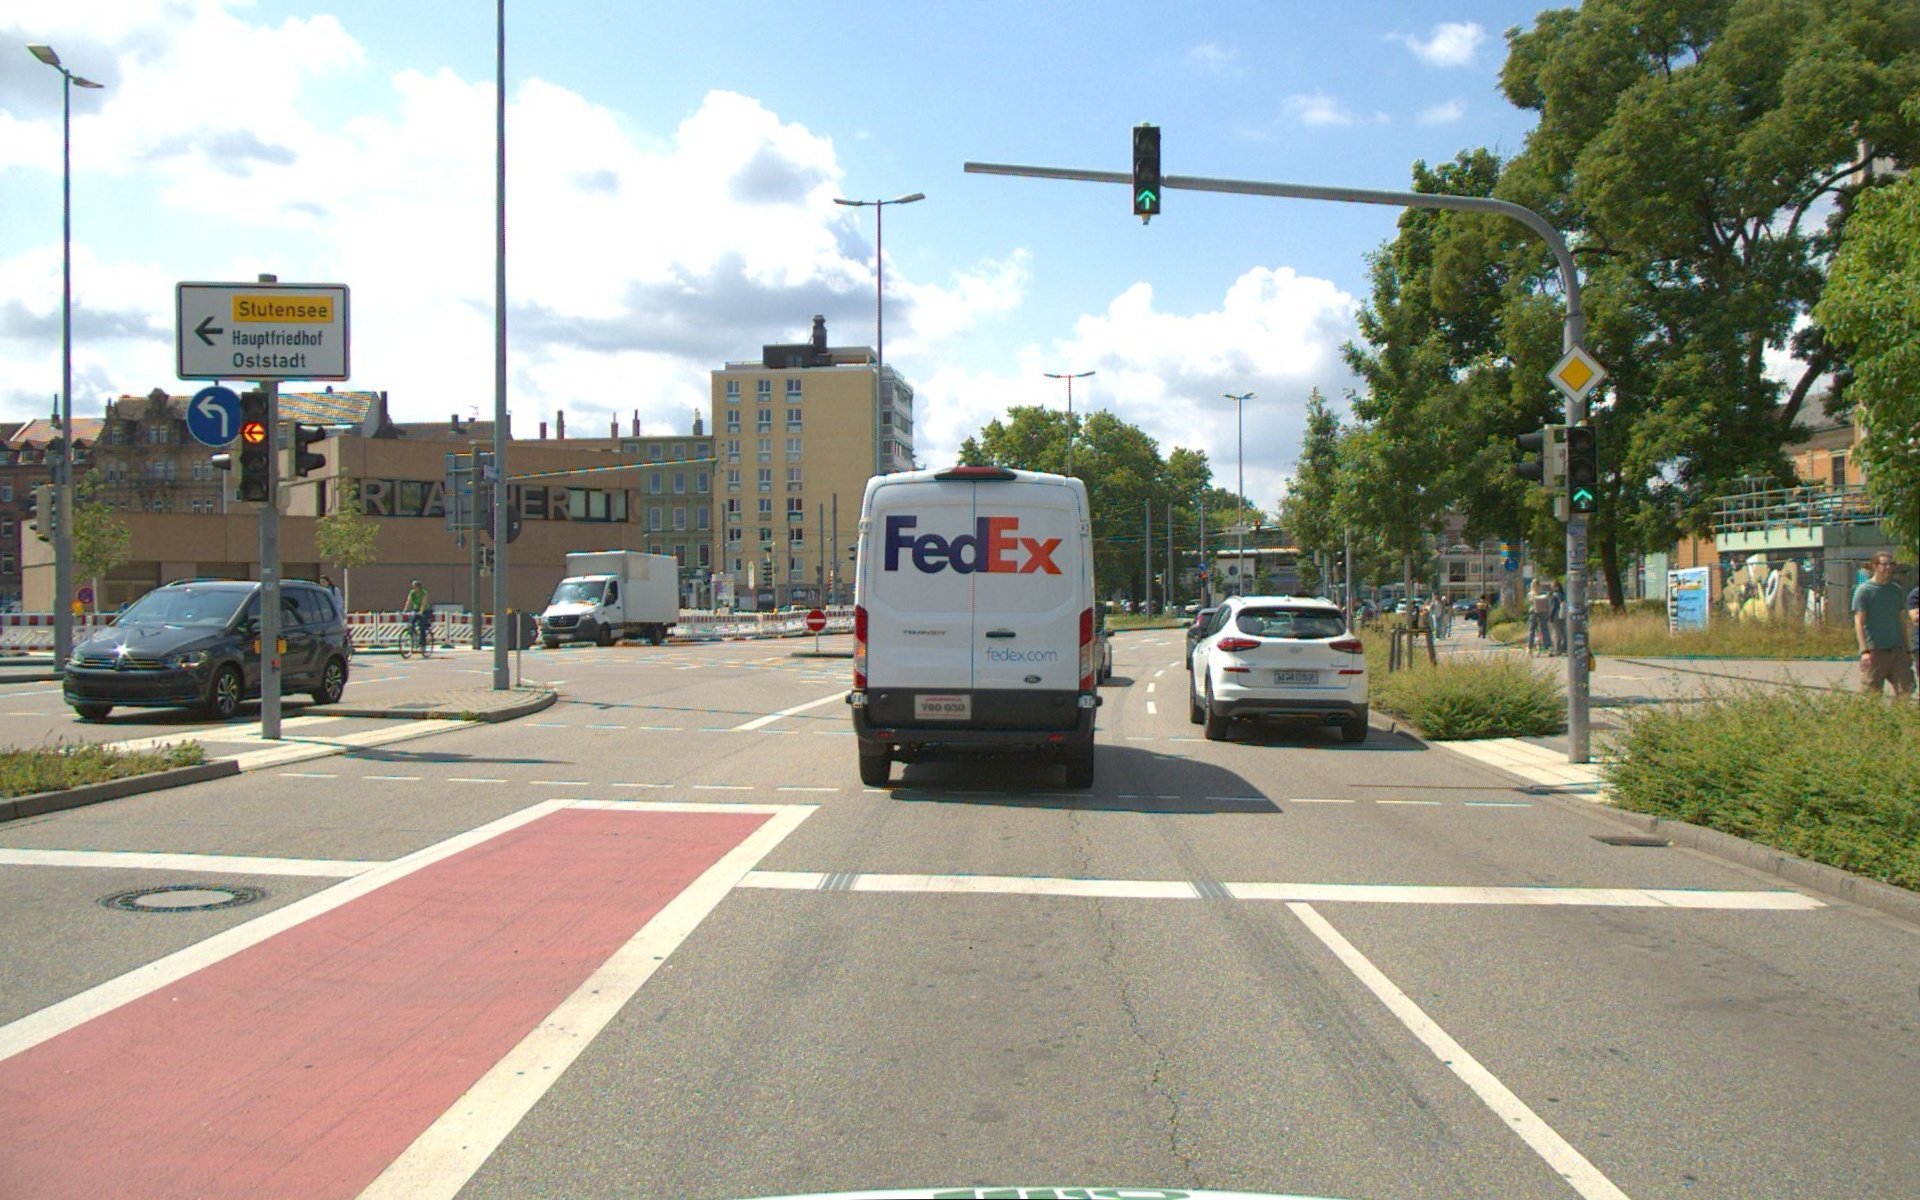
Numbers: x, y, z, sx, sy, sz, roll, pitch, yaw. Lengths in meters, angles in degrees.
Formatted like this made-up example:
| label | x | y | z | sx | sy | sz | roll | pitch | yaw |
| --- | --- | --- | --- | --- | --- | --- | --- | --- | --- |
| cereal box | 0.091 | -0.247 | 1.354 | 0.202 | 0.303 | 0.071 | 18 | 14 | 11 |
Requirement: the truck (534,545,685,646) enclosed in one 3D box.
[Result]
| label | x | y | z | sx | sy | sz | roll | pitch | yaw |
| --- | --- | --- | --- | --- | --- | --- | --- | --- | --- |
| truck | -11.452 | -0.087 | 54.730 | 1.951 | 3.121 | 7.336 | 1 | -1 | 13 |

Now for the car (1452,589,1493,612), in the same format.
| label | x | y | z | sx | sy | sz | roll | pitch | yaw |
| --- | --- | --- | --- | --- | --- | --- | --- | --- | --- |
| car | 37.969 | 0.049 | 122.514 | 1.848 | 1.670 | 3.945 | -1 | 0 | 33 |

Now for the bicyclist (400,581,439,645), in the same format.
| label | x | y | z | sx | sy | sz | roll | pitch | yaw |
| --- | --- | --- | --- | --- | --- | --- | --- | --- | --- |
| bicyclist | -12.791 | 0.311 | 39.162 | 0.553 | 1.487 | 0.837 | -1 | 0 | 9 |

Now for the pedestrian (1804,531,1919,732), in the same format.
| label | x | y | z | sx | sy | sz | roll | pitch | yaw |
| --- | --- | --- | --- | --- | --- | --- | --- | --- | --- |
| pedestrian | 8.547 | 0.281 | 15.481 | 0.735 | 1.808 | 0.880 | -2 | 0 | -7 |

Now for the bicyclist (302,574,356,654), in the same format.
| label | x | y | z | sx | sy | sz | roll | pitch | yaw |
| --- | --- | --- | --- | --- | --- | --- | --- | --- | --- |
| bicyclist | -13.203 | 0.280 | 34.621 | 0.760 | 1.647 | 0.843 | -1 | 0 | 1 |

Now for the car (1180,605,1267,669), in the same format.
| label | x | y | z | sx | sy | sz | roll | pitch | yaw |
| --- | --- | --- | --- | --- | --- | --- | --- | --- | --- |
| car | 6.354 | 0.858 | 40.178 | 1.874 | 1.445 | 3.921 | -1 | 0 | 6 |

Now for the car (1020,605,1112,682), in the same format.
| label | x | y | z | sx | sy | sz | roll | pitch | yaw |
| --- | --- | --- | --- | --- | --- | --- | --- | --- | --- |
| car | 2.160 | 0.827 | 33.199 | 1.704 | 1.416 | 4.182 | -1 | 0 | 5 |

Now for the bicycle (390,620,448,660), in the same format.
| label | x | y | z | sx | sy | sz | roll | pitch | yaw |
| --- | --- | --- | --- | --- | --- | --- | --- | --- | --- |
| bicycle | -12.788 | 0.938 | 39.117 | 0.555 | 0.905 | 1.744 | -1 | 0 | 9 |

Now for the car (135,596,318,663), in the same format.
| label | x | y | z | sx | sy | sz | roll | pitch | yaw |
| --- | --- | --- | --- | --- | --- | --- | --- | --- | --- |
| car | -18.043 | 0.696 | 40.706 | 3.859 | 1.512 | 1.976 | -1 | 0 | -34 |

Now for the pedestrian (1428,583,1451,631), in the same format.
| label | x | y | z | sx | sy | sz | roll | pitch | yaw |
| --- | --- | --- | --- | --- | --- | --- | --- | --- | --- |
| pedestrian | 18.724 | 0.262 | 64.618 | 0.740 | 1.853 | 0.638 | 1 | -1 | 7 |

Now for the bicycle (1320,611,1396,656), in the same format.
| label | x | y | z | sx | sy | sz | roll | pitch | yaw |
| --- | --- | --- | --- | --- | --- | --- | --- | --- | --- |
| bicycle | 10.166 | 0.857 | 42.296 | 1.771 | 1.068 | 0.592 | -3 | -2 | 5 |

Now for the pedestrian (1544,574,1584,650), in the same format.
| label | x | y | z | sx | sy | sz | roll | pitch | yaw |
| --- | --- | --- | --- | --- | --- | --- | --- | --- | --- |
| pedestrian | 14.565 | 0.282 | 39.902 | 0.734 | 1.783 | 0.610 | -2 | 0 | 5 |

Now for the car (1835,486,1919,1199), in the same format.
| label | x | y | z | sx | sy | sz | roll | pitch | yaw |
| --- | --- | --- | --- | --- | --- | --- | --- | --- | --- |
| car | 3.216 | 0.628 | 2.152 | 1.757 | 1.753 | 4.448 | 2 | 0 | 0 |

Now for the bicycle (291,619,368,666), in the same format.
| label | x | y | z | sx | sy | sz | roll | pitch | yaw |
| --- | --- | --- | --- | --- | --- | --- | --- | --- | --- |
| bicycle | -13.194 | 0.877 | 34.672 | 0.760 | 0.905 | 2.109 | -1 | 0 | 2 |

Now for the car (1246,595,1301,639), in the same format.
| label | x | y | z | sx | sy | sz | roll | pitch | yaw |
| --- | --- | --- | --- | --- | --- | --- | --- | --- | --- |
| car | 12.401 | 0.640 | 65.268 | 1.841 | 1.670 | 3.960 | -1 | 0 | 15 |

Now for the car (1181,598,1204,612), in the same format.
| label | x | y | z | sx | sy | sz | roll | pitch | yaw |
| --- | --- | --- | --- | --- | --- | --- | --- | --- | --- |
| car | 27.782 | 0.587 | 197.369 | 1.952 | 1.601 | 4.178 | 0 | -1 | 20 |

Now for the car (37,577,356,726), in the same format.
| label | x | y | z | sx | sy | sz | roll | pitch | yaw |
| --- | --- | --- | --- | --- | --- | --- | --- | --- | --- |
| car | -9.338 | 0.567 | 20.648 | 1.842 | 1.652 | 4.157 | 0 | 0 | 3 |

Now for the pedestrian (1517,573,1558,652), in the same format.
| label | x | y | z | sx | sy | sz | roll | pitch | yaw |
| --- | --- | --- | --- | --- | --- | --- | --- | --- | --- |
| pedestrian | 13.752 | 0.297 | 39.409 | 0.734 | 1.834 | 0.610 | -2 | 0 | 5 |

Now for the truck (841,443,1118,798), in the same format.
| label | x | y | z | sx | sy | sz | roll | pitch | yaw |
| --- | --- | --- | --- | --- | --- | --- | --- | --- | --- |
| truck | 0.297 | 0.163 | 15.573 | 2.092 | 2.686 | 5.919 | 1 | 0 | 3 |

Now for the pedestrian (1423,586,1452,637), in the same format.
| label | x | y | z | sx | sy | sz | roll | pitch | yaw |
| --- | --- | --- | --- | --- | --- | --- | --- | --- | --- |
| pedestrian | 17.876 | 0.433 | 61.930 | 0.740 | 1.853 | 0.780 | -4 | -1 | 1 |

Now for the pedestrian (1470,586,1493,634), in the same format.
| label | x | y | z | sx | sy | sz | roll | pitch | yaw |
| --- | --- | --- | --- | --- | --- | --- | --- | --- | --- |
| pedestrian | 20.182 | 0.400 | 63.989 | 0.740 | 1.853 | 0.674 | 1 | -1 | 8 |

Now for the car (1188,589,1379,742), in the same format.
| label | x | y | z | sx | sy | sz | roll | pitch | yaw |
| --- | --- | --- | --- | --- | --- | --- | --- | --- | --- |
| car | 3.854 | 0.715 | 20.345 | 1.841 | 1.670 | 4.235 | -1 | 0 | 5 |

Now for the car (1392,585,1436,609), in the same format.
| label | x | y | z | sx | sy | sz | roll | pitch | yaw |
| --- | --- | --- | --- | --- | --- | --- | --- | --- | --- |
| car | 31.836 | -0.213 | 115.988 | 1.848 | 1.670 | 3.945 | -1 | 0 | 33 |

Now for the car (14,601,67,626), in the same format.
| label | x | y | z | sx | sy | sz | roll | pitch | yaw |
| --- | --- | --- | --- | --- | --- | --- | --- | --- | --- |
| car | -89.679 | 1.361 | 161.277 | 4.020 | 2.384 | 2.001 | 1 | -1 | 5 |

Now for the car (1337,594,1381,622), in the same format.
| label | x | y | z | sx | sy | sz | roll | pitch | yaw |
| --- | --- | --- | --- | --- | --- | --- | --- | --- | --- |
| car | 24.564 | 0.476 | 101.741 | 1.844 | 1.670 | 3.954 | -1 | 0 | 25 |

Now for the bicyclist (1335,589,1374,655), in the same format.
| label | x | y | z | sx | sy | sz | roll | pitch | yaw |
| --- | --- | --- | --- | --- | --- | --- | --- | --- | --- |
| bicyclist | 10.091 | 0.566 | 42.310 | 0.810 | 1.629 | 0.580 | -3 | -2 | 5 |

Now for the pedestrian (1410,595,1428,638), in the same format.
| label | x | y | z | sx | sy | sz | roll | pitch | yaw |
| --- | --- | --- | --- | --- | --- | --- | --- | --- | --- |
| pedestrian | 17.986 | 0.648 | 64.805 | 0.575 | 1.654 | 0.728 | 1 | -1 | 7 |

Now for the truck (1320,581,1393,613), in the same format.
| label | x | y | z | sx | sy | sz | roll | pitch | yaw |
| --- | --- | --- | --- | --- | --- | --- | --- | --- | --- |
| truck | 36.749 | -0.318 | 153.148 | 2.842 | 2.902 | 8.743 | -1 | 0 | 41 |

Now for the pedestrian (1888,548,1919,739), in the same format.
| label | x | y | z | sx | sy | sz | roll | pitch | yaw |
| --- | --- | --- | --- | --- | --- | --- | --- | --- | --- |
| pedestrian | 9.268 | 0.397 | 15.558 | 0.654 | 1.777 | 0.608 | -2 | 0 | -7 |

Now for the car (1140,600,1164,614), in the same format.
| label | x | y | z | sx | sy | sz | roll | pitch | yaw |
| --- | --- | --- | --- | --- | --- | --- | --- | --- | --- |
| car | 23.154 | 0.849 | 199.454 | 1.952 | 1.601 | 4.178 | 0 | -1 | 20 |

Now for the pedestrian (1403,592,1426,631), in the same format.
| label | x | y | z | sx | sy | sz | roll | pitch | yaw |
| --- | --- | --- | --- | --- | --- | --- | --- | --- | --- |
| pedestrian | 18.930 | 0.476 | 68.885 | 0.740 | 1.617 | 0.761 | 1 | -1 | 1 |
